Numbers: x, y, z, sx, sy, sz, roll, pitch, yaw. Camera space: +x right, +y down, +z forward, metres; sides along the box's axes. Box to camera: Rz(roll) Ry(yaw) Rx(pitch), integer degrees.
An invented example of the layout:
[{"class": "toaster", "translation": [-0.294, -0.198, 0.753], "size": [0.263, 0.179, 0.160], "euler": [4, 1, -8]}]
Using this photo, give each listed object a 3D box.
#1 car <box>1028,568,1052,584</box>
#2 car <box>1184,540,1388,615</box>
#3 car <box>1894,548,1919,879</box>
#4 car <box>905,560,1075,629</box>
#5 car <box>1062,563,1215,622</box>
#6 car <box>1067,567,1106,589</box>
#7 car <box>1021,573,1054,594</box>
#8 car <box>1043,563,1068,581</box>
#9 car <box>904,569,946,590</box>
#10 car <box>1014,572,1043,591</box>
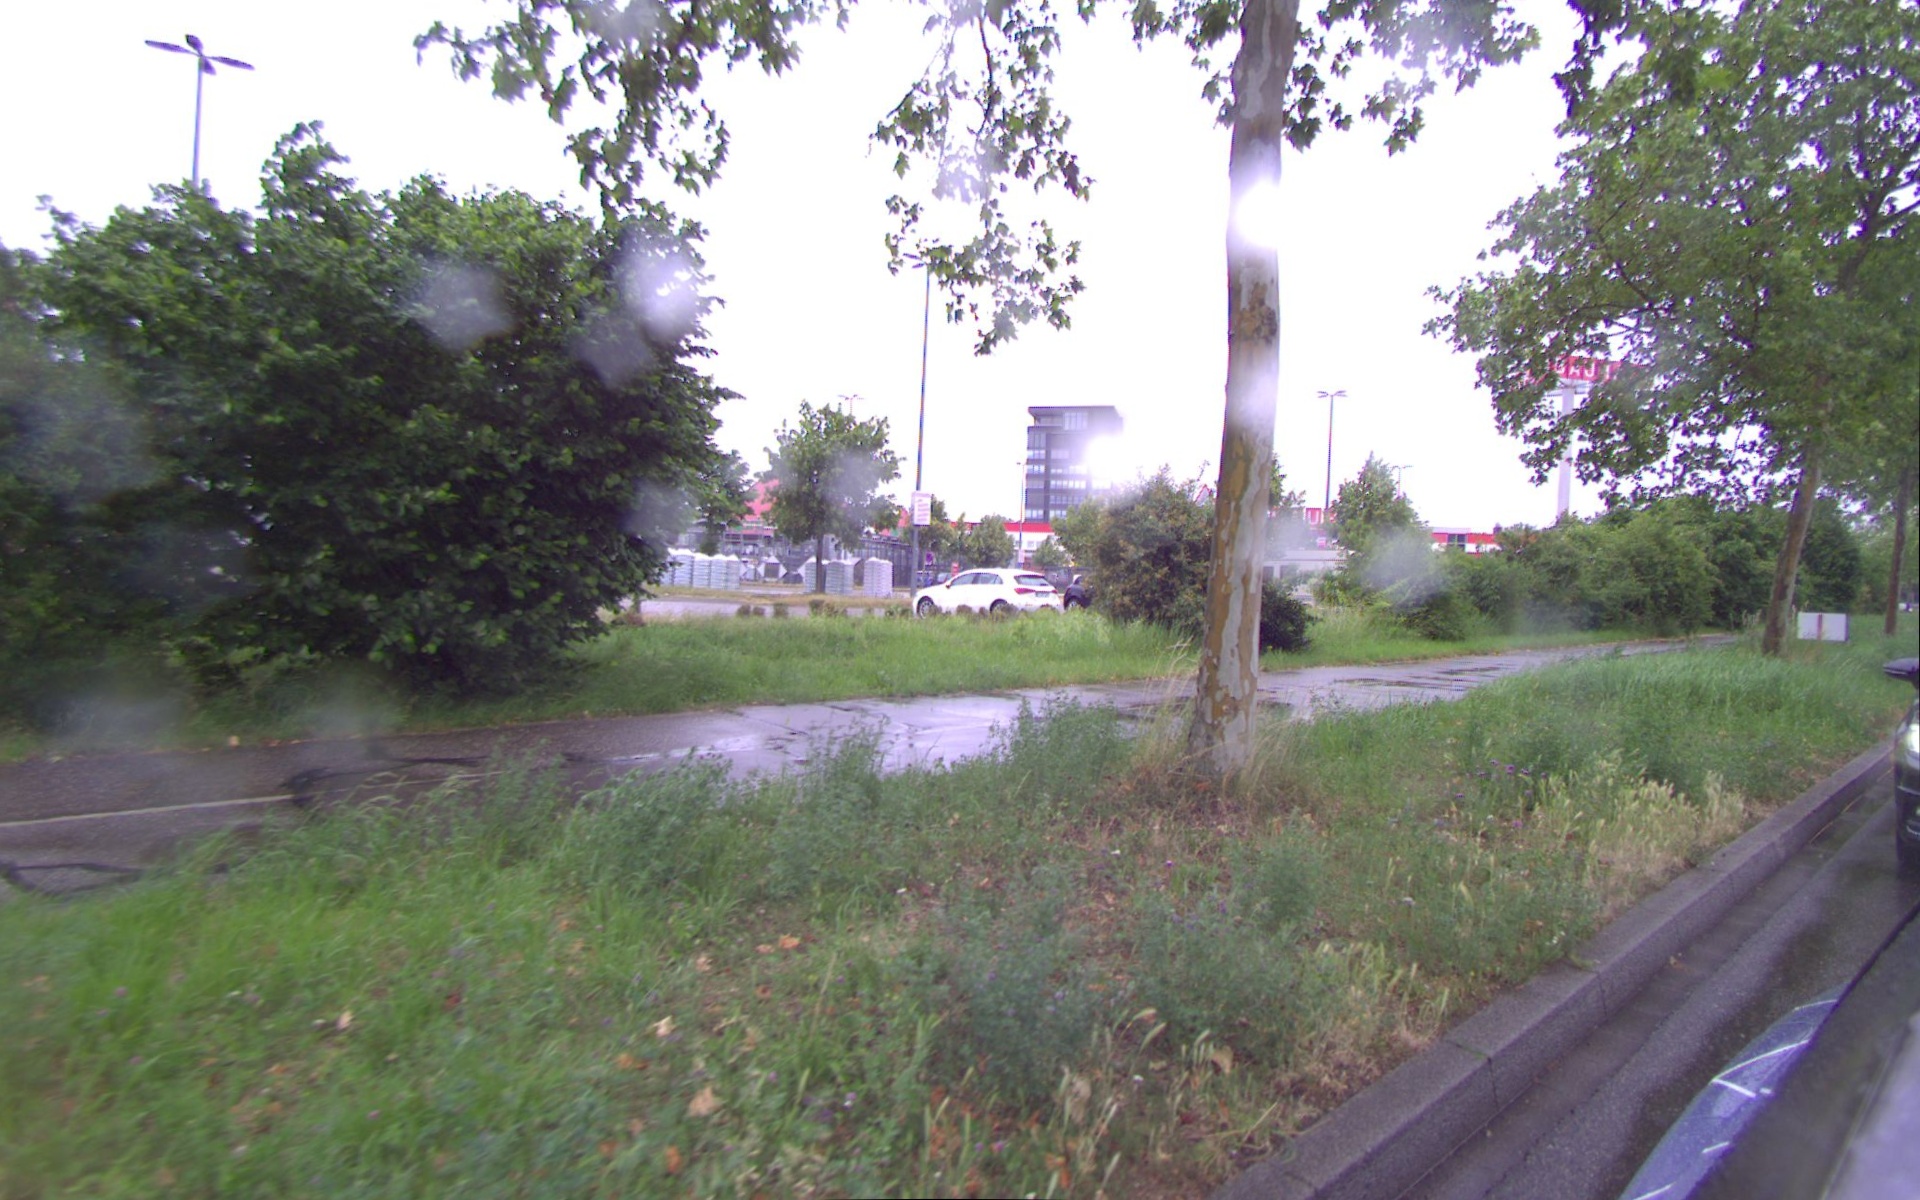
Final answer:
[{"class": "car", "translation": [8.886, -2.700, 112.289], "size": [1.973, 1.697, 4.257], "euler": [2, 2, 13]}, {"class": "car", "translation": [11.372, -0.859, 35.677], "size": [6.399, 2.391, 2.357], "euler": [3, 3, 41]}, {"class": "car", "translation": [6.896, 0.542, 5.921], "size": [4.549, 1.625, 1.768], "euler": [-1, 0, -43]}, {"class": "car", "translation": [0.711, -0.198, 26.330], "size": [4.262, 1.571, 1.899], "euler": [3, 3, 45]}, {"class": "car", "translation": [5.350, -0.270, 30.687], "size": [4.262, 1.571, 1.899], "euler": [3, 3, 45]}, {"class": "car", "translation": [9.442, -1.660, 75.286], "size": [1.906, 1.571, 4.246], "euler": [2, 2, 20]}, {"class": "car", "translation": [6.271, -1.352, 81.343], "size": [1.902, 1.571, 4.254], "euler": [2, 2, 15]}, {"class": "car", "translation": [9.476, -2.749, 100.116], "size": [1.972, 1.697, 4.259], "euler": [2, 2, 12]}, {"class": "car", "translation": [-2.719, -1.658, 79.474], "size": [1.904, 1.571, 4.250], "euler": [2, 2, 18]}, {"class": "car", "translation": [6.425, -1.795, 95.114], "size": [1.973, 1.697, 4.256], "euler": [2, 2, 14]}]
